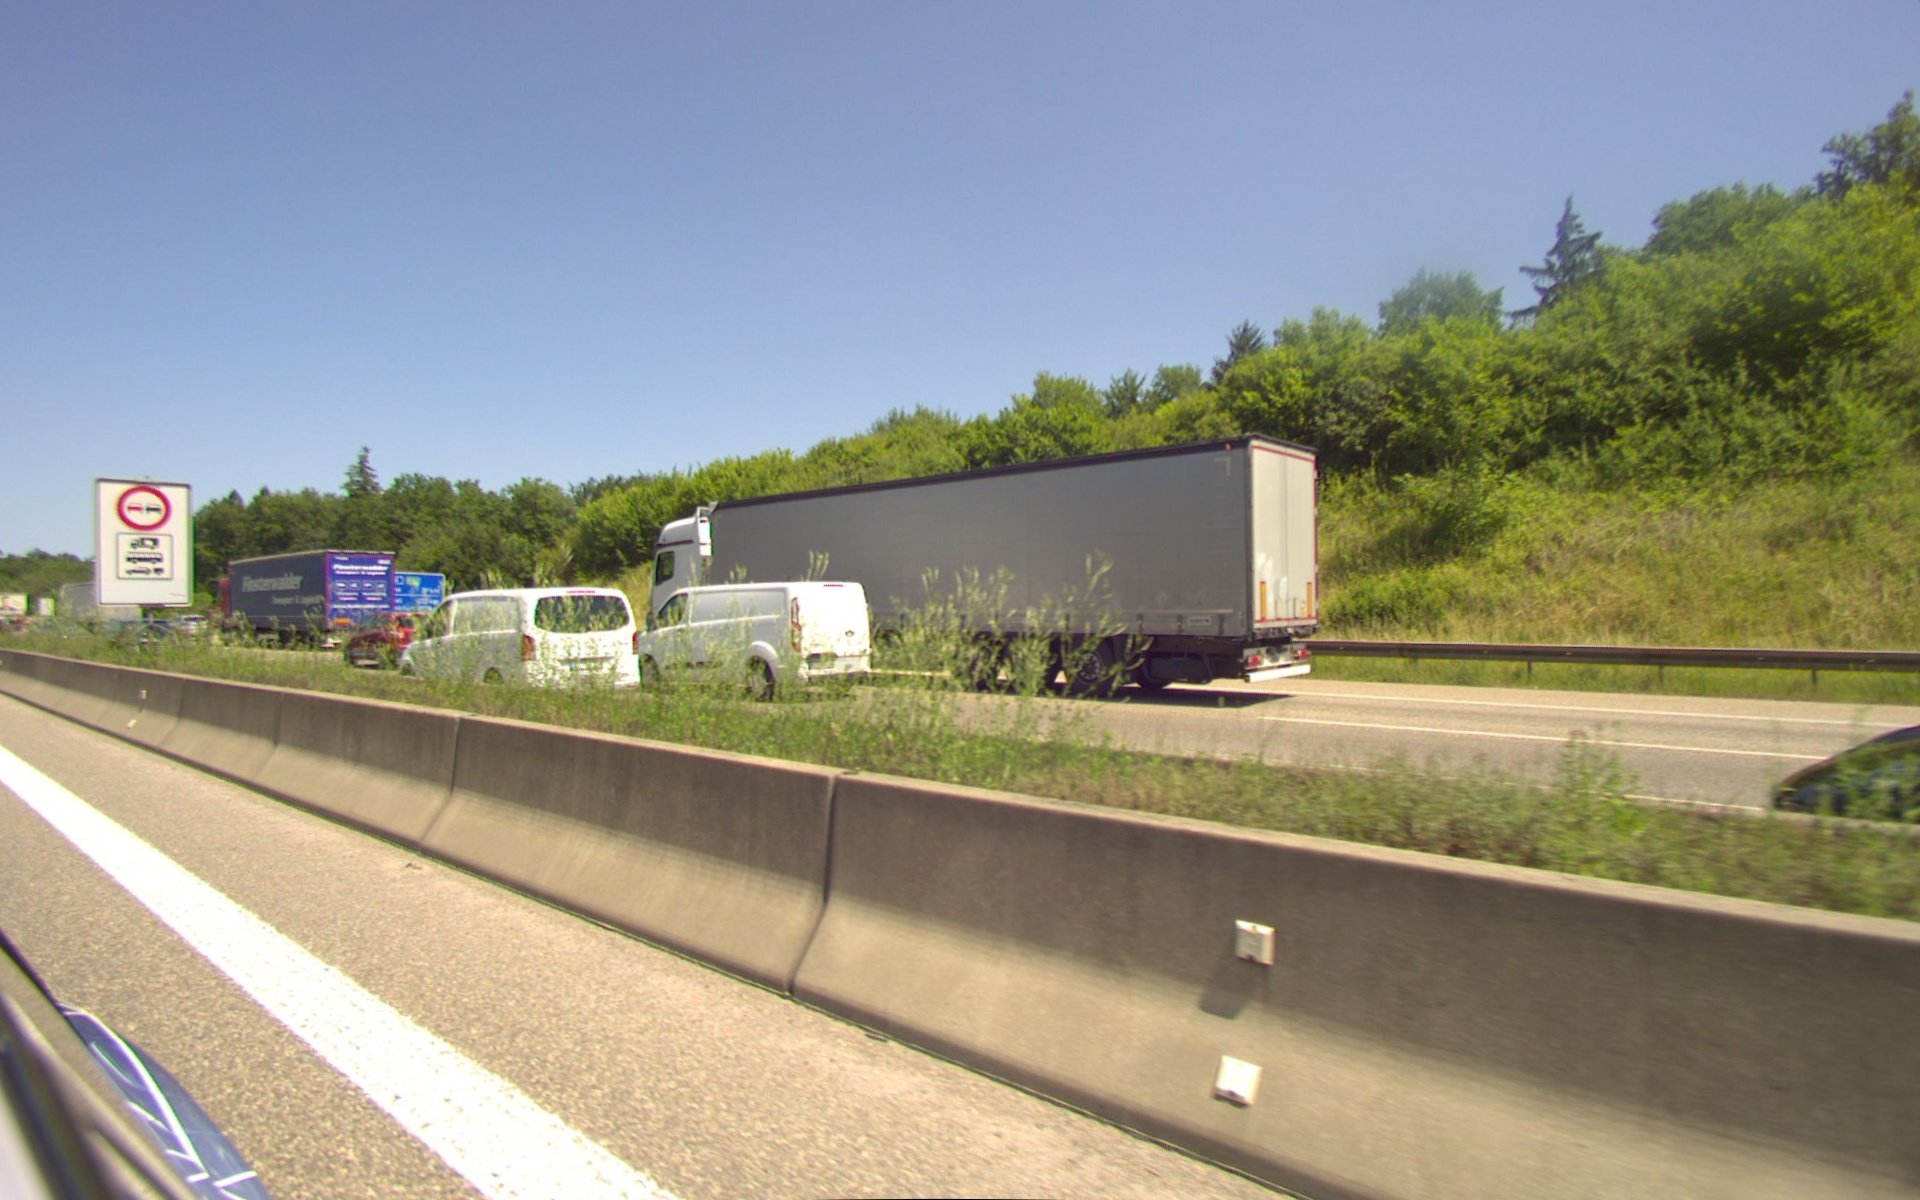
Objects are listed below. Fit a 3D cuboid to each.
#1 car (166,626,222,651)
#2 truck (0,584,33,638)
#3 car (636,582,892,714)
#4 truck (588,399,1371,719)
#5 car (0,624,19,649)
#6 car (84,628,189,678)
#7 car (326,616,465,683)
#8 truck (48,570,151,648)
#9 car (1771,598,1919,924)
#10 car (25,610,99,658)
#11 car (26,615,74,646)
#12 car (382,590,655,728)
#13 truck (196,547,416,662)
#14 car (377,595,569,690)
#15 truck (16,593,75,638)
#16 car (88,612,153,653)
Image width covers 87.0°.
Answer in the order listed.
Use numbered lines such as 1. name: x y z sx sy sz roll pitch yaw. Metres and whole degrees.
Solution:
1. car: -46.711 2.339 61.692 3.997 1.387 1.872 -1 0 40
2. truck: -106.682 1.231 112.369 19.446 5.543 3.657 -1 0 42
3. car: -3.583 0.760 17.972 4.754 2.039 1.872 -1 0 40
4. truck: -1.562 -0.498 22.099 19.446 4.490 3.657 -1 0 42
5. car: -57.367 2.166 59.943 3.997 1.387 1.872 -1 0 40
6. car: -26.013 1.610 31.930 3.997 1.387 1.872 -1 0 40
7. car: -16.049 1.328 28.670 4.754 1.691 1.872 -1 0 40
8. truck: -67.908 0.728 79.555 19.446 5.543 3.657 -1 0 42
9. car: 6.376 0.724 4.206 4.656 1.491 1.808 -1 0 40
10. car: -39.698 1.470 44.693 3.998 2.029 1.973 -1 -1 41
11. car: -62.106 2.091 69.068 3.998 2.029 1.973 -1 -1 41
12. car: -7.104 0.808 16.013 5.016 1.858 1.961 -1 0 40
13. truck: -31.090 0.250 47.240 19.446 4.490 3.657 -1 0 42
14. car: -10.840 0.856 22.359 5.016 1.858 1.961 -1 0 40
15. truck: -118.384 1.983 130.861 19.446 5.543 3.657 -1 0 42
16. car: -43.580 1.674 52.505 3.998 2.029 1.973 -1 -1 41
